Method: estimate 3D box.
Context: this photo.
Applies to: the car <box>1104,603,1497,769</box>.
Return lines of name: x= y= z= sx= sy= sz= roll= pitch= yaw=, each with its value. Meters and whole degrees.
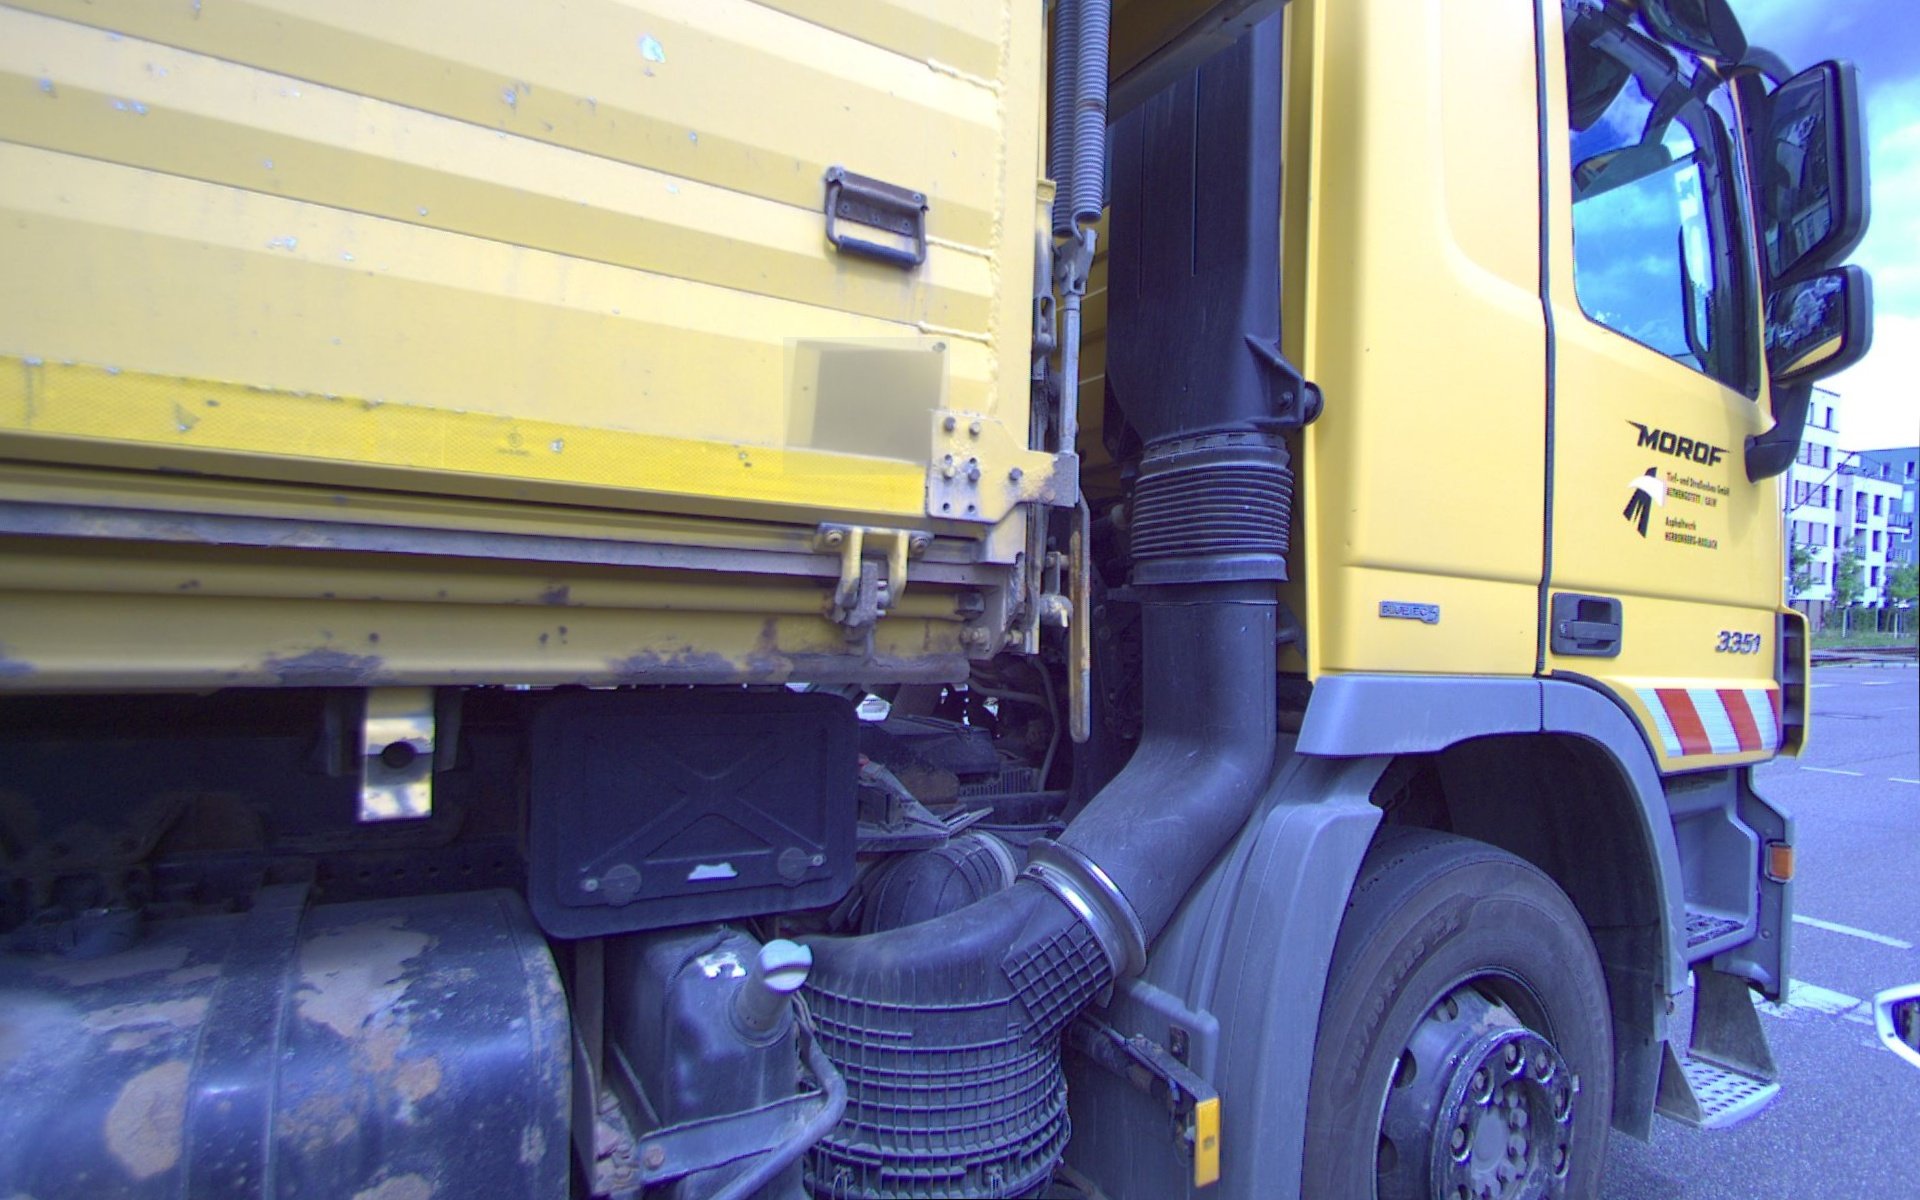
car: x=3.702 y=0.808 z=10.825 sx=3.993 sy=1.489 sz=1.770 roll=1 pitch=0 yaw=-28

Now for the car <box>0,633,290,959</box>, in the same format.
car: x=-5.889 y=0.927 z=4.880 sx=4.227 sy=1.460 sz=1.754 roll=1 pitch=0 yaw=-30

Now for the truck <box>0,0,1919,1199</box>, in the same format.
truck: x=-1.544 y=-0.038 z=1.588 sx=7.688 sy=3.043 sz=2.707 roll=2 pitch=0 yaw=-30
